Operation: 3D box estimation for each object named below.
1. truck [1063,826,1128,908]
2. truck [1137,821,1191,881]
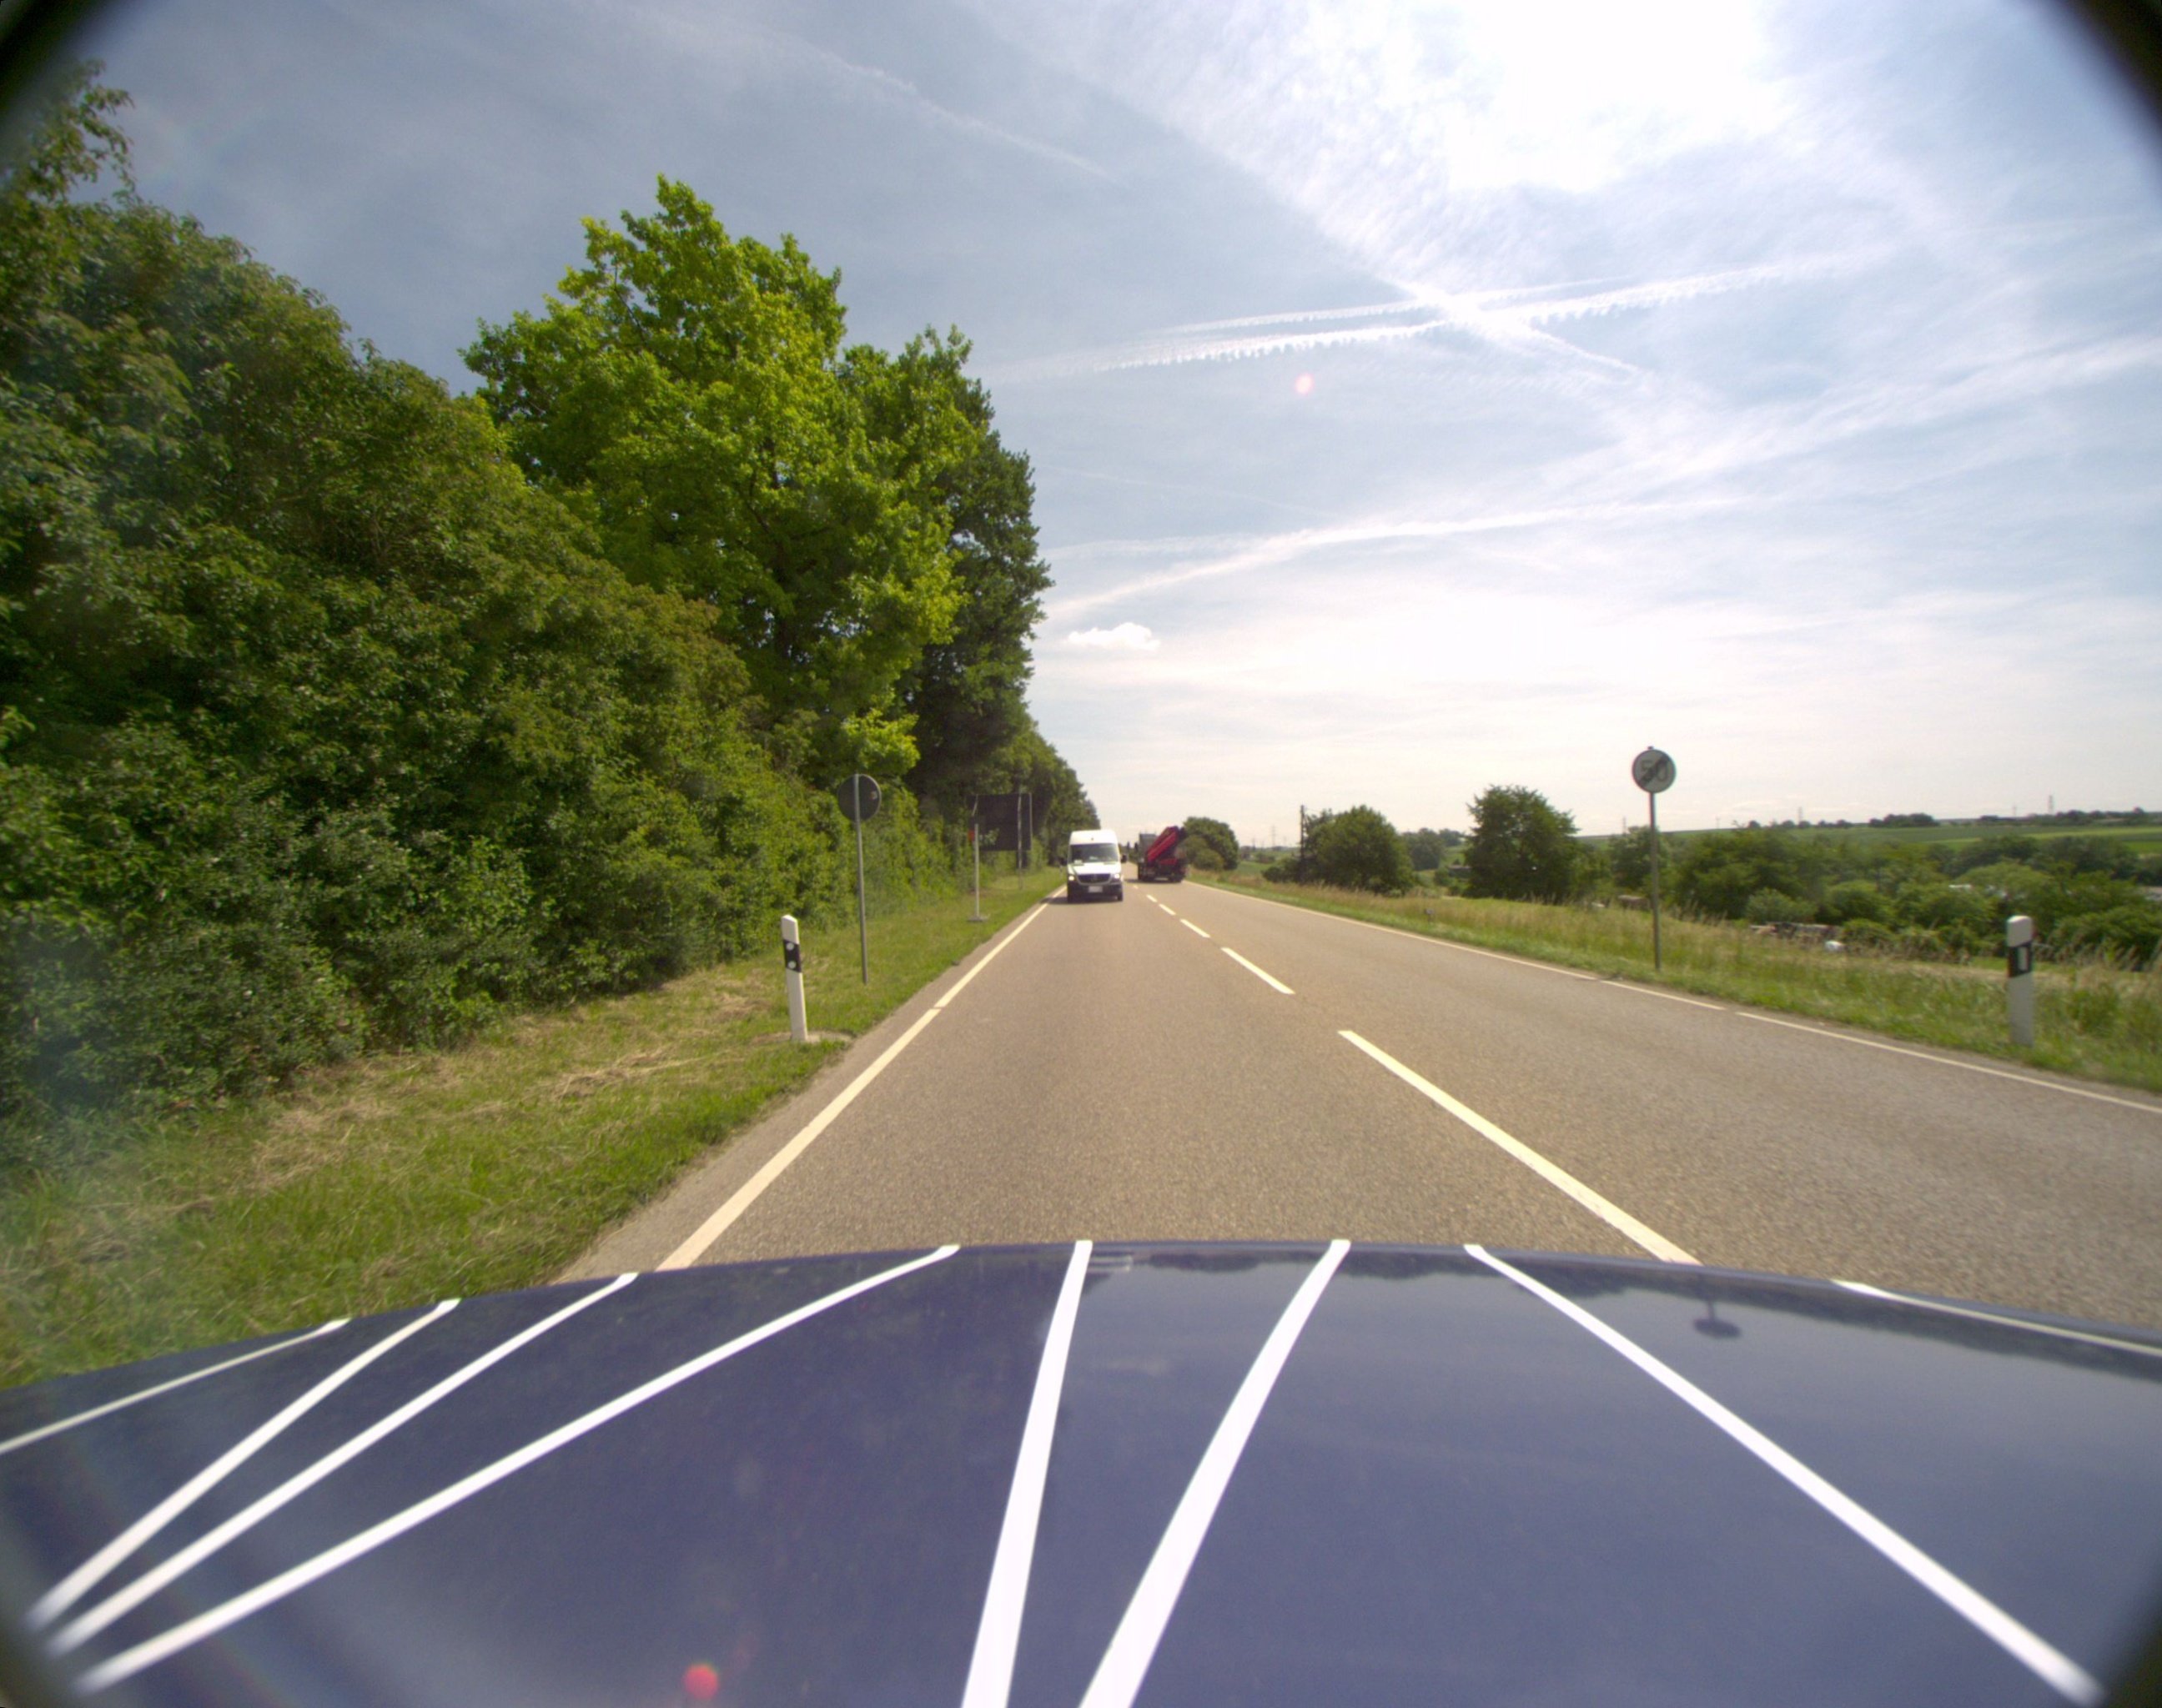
[{"bbox_3d":[0.668,0.407,28.190,2.022,2.567,7.227,-2,0,3],"label":"truck"},{"bbox_3d":[5.360,-0.126,50.998,2.763,3.555,11.067,1,0,2],"label":"truck"}]
